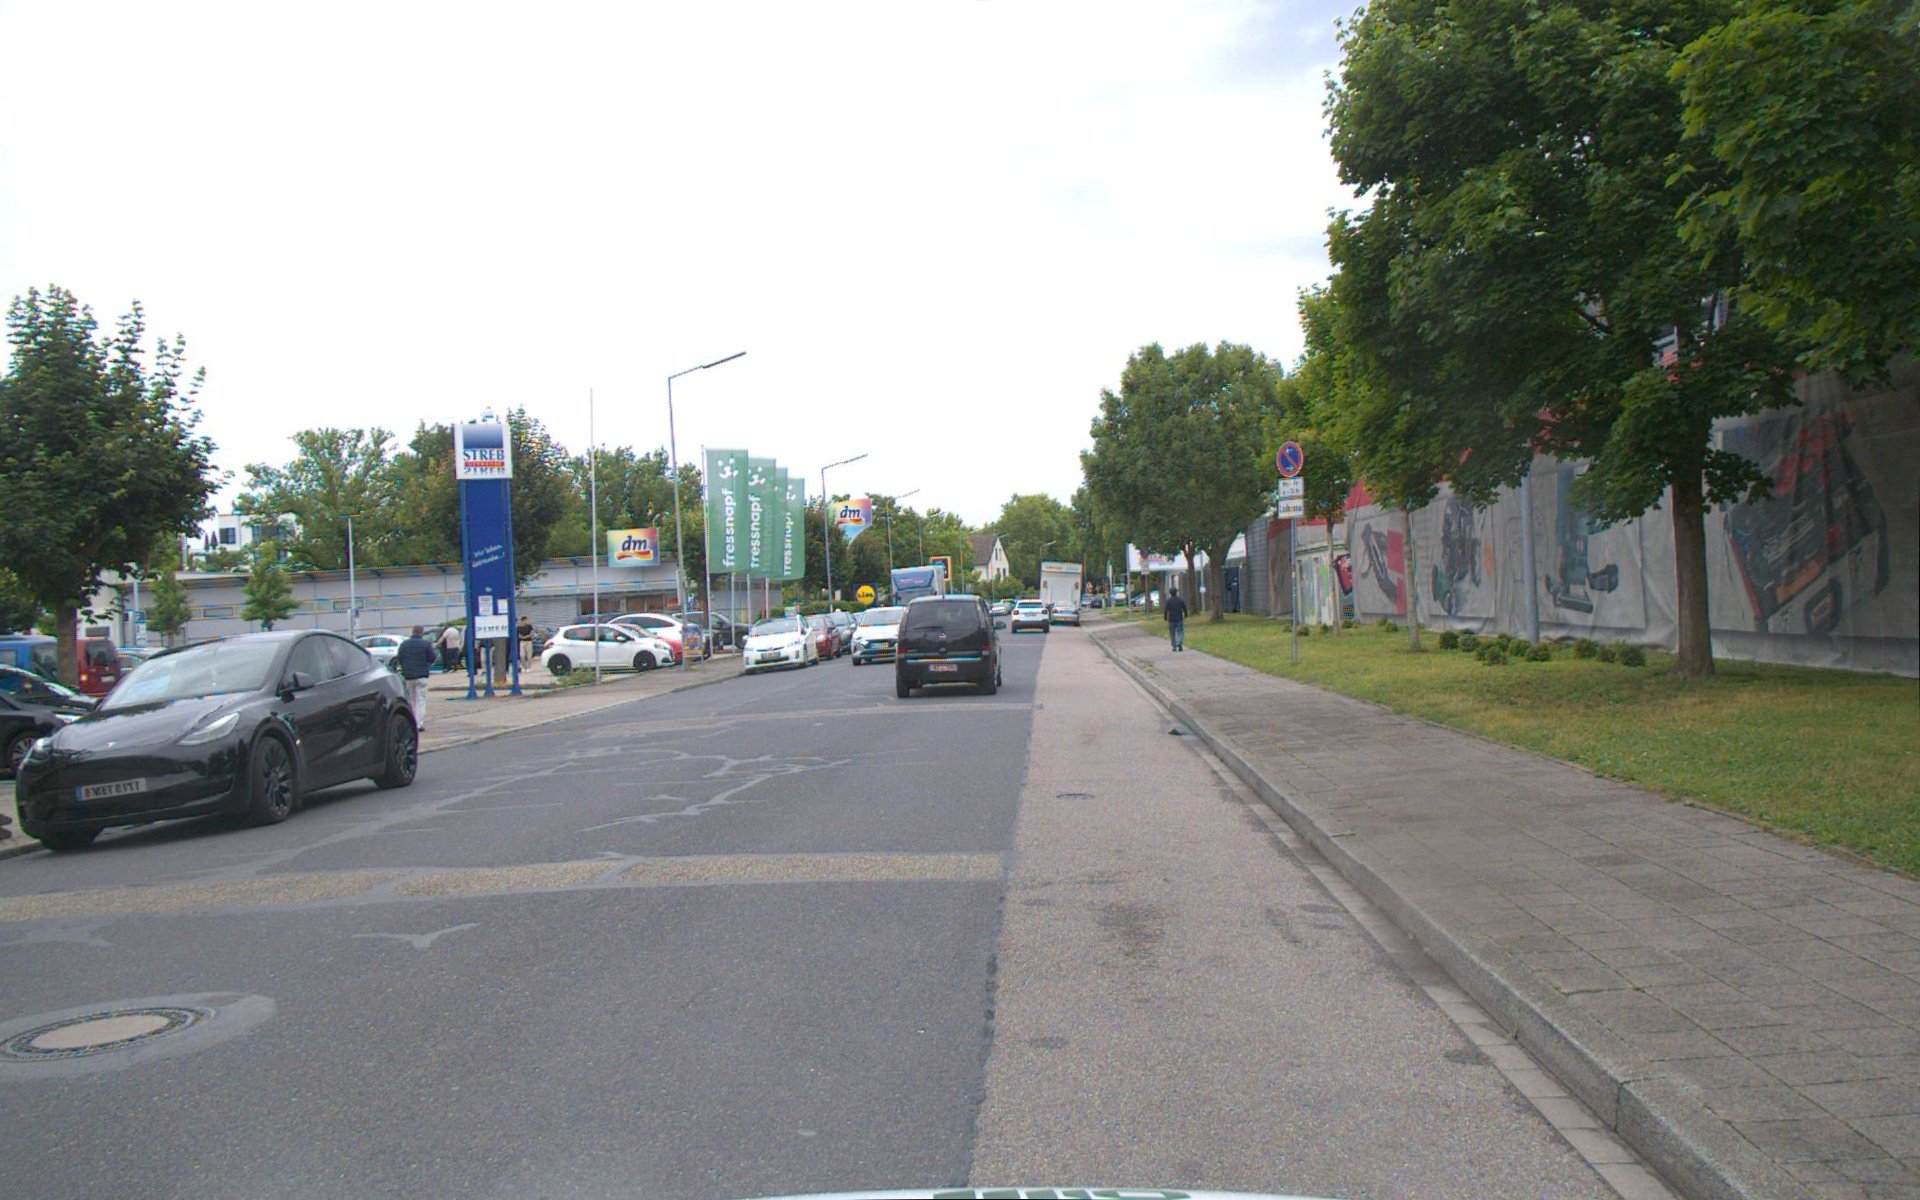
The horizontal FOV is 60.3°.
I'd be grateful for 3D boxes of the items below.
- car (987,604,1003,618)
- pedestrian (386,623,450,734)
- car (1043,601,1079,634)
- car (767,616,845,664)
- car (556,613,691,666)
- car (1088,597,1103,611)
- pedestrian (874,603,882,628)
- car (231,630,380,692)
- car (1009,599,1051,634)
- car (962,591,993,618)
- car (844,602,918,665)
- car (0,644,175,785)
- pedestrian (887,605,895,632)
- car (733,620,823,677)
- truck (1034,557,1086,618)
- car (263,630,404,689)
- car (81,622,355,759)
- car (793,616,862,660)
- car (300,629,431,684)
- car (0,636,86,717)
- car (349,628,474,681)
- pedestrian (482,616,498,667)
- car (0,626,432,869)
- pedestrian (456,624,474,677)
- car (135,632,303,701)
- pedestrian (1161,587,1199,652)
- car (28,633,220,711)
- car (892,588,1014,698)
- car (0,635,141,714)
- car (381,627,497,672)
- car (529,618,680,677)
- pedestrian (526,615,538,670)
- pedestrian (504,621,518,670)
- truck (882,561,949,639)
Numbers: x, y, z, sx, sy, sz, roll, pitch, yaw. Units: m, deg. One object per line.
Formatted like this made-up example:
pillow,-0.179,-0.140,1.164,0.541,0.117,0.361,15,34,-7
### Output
car,3.726,1.187,175.156,1.509,1.389,3.429,-2,-1,3
pedestrian,-8.824,1.270,26.951,0.759,1.745,0.697,-2,0,-1
car,5.925,1.023,97.574,1.952,1.837,4.001,-1,-1,2
car,-4.963,1.273,53.779,1.858,1.391,4.002,-3,0,3
car,-11.082,1.295,54.711,4.053,1.488,1.898,-3,0,-2
car,16.472,0.487,201.160,1.847,1.713,4.256,-1,0,4
pedestrian,-5.179,0.956,104.170,0.393,1.558,0.485,-3,0,-3
car,-20.851,1.933,52.804,3.904,1.698,1.877,-3,0,3
car,3.311,0.755,77.903,1.847,1.558,4.256,-1,0,4
car,1.175,0.304,109.424,1.952,1.713,4.001,-1,-1,2
car,-2.150,0.917,45.938,1.565,1.554,3.529,-4,-1,4
car,-12.490,1.466,21.302,3.792,1.649,1.928,-2,0,3
pedestrian,-4.165,1.111,99.847,0.393,1.558,0.485,-3,0,-3
car,-5.146,1.355,47.272,1.858,1.391,4.002,-3,0,3
truck,6.376,-0.712,106.735,3.070,3.647,10.052,-1,-1,2
car,-20.977,1.981,55.478,3.904,1.698,1.877,-3,0,3
car,-12.765,1.531,28.648,3.852,2.048,1.760,-3,0,-4
car,-4.693,1.329,59.268,1.858,1.391,4.002,-3,0,3
car,-21.182,2.002,58.999,3.904,1.698,1.877,-3,0,3
car,-22.406,1.805,37.684,3.904,1.698,1.877,-3,0,3
car,-20.338,2.008,61.456,3.904,1.698,1.877,-3,0,3
pedestrian,-15.183,1.340,53.423,0.352,1.597,0.503,-3,0,-7
car,-6.461,1.154,14.614,1.907,1.552,4.403,-7,0,2
pedestrian,-15.922,1.617,53.211,0.447,1.670,0.373,-3,0,-14
car,-21.315,1.895,47.682,3.904,1.698,1.877,-3,0,3
pedestrian,5.788,0.512,43.590,0.899,1.663,0.853,-1,-1,5
car,-21.434,1.838,42.507,3.904,1.698,1.877,-3,0,3
car,-0.059,0.679,28.119,1.645,1.660,3.761,-3,0,5
car,-22.308,1.834,40.097,3.904,1.698,1.877,-3,0,3
car,-20.538,1.931,65.256,3.903,1.518,1.787,-3,0,4
car,-10.654,1.409,49.801,4.121,1.488,1.951,-3,0,-4
pedestrian,-13.914,1.383,53.757,0.258,1.760,0.421,-3,0,-9
pedestrian,-14.621,1.474,53.852,0.323,1.597,0.503,-1,0,-8
truck,-2.417,0.012,92.995,2.912,4.024,6.407,-4,0,4
